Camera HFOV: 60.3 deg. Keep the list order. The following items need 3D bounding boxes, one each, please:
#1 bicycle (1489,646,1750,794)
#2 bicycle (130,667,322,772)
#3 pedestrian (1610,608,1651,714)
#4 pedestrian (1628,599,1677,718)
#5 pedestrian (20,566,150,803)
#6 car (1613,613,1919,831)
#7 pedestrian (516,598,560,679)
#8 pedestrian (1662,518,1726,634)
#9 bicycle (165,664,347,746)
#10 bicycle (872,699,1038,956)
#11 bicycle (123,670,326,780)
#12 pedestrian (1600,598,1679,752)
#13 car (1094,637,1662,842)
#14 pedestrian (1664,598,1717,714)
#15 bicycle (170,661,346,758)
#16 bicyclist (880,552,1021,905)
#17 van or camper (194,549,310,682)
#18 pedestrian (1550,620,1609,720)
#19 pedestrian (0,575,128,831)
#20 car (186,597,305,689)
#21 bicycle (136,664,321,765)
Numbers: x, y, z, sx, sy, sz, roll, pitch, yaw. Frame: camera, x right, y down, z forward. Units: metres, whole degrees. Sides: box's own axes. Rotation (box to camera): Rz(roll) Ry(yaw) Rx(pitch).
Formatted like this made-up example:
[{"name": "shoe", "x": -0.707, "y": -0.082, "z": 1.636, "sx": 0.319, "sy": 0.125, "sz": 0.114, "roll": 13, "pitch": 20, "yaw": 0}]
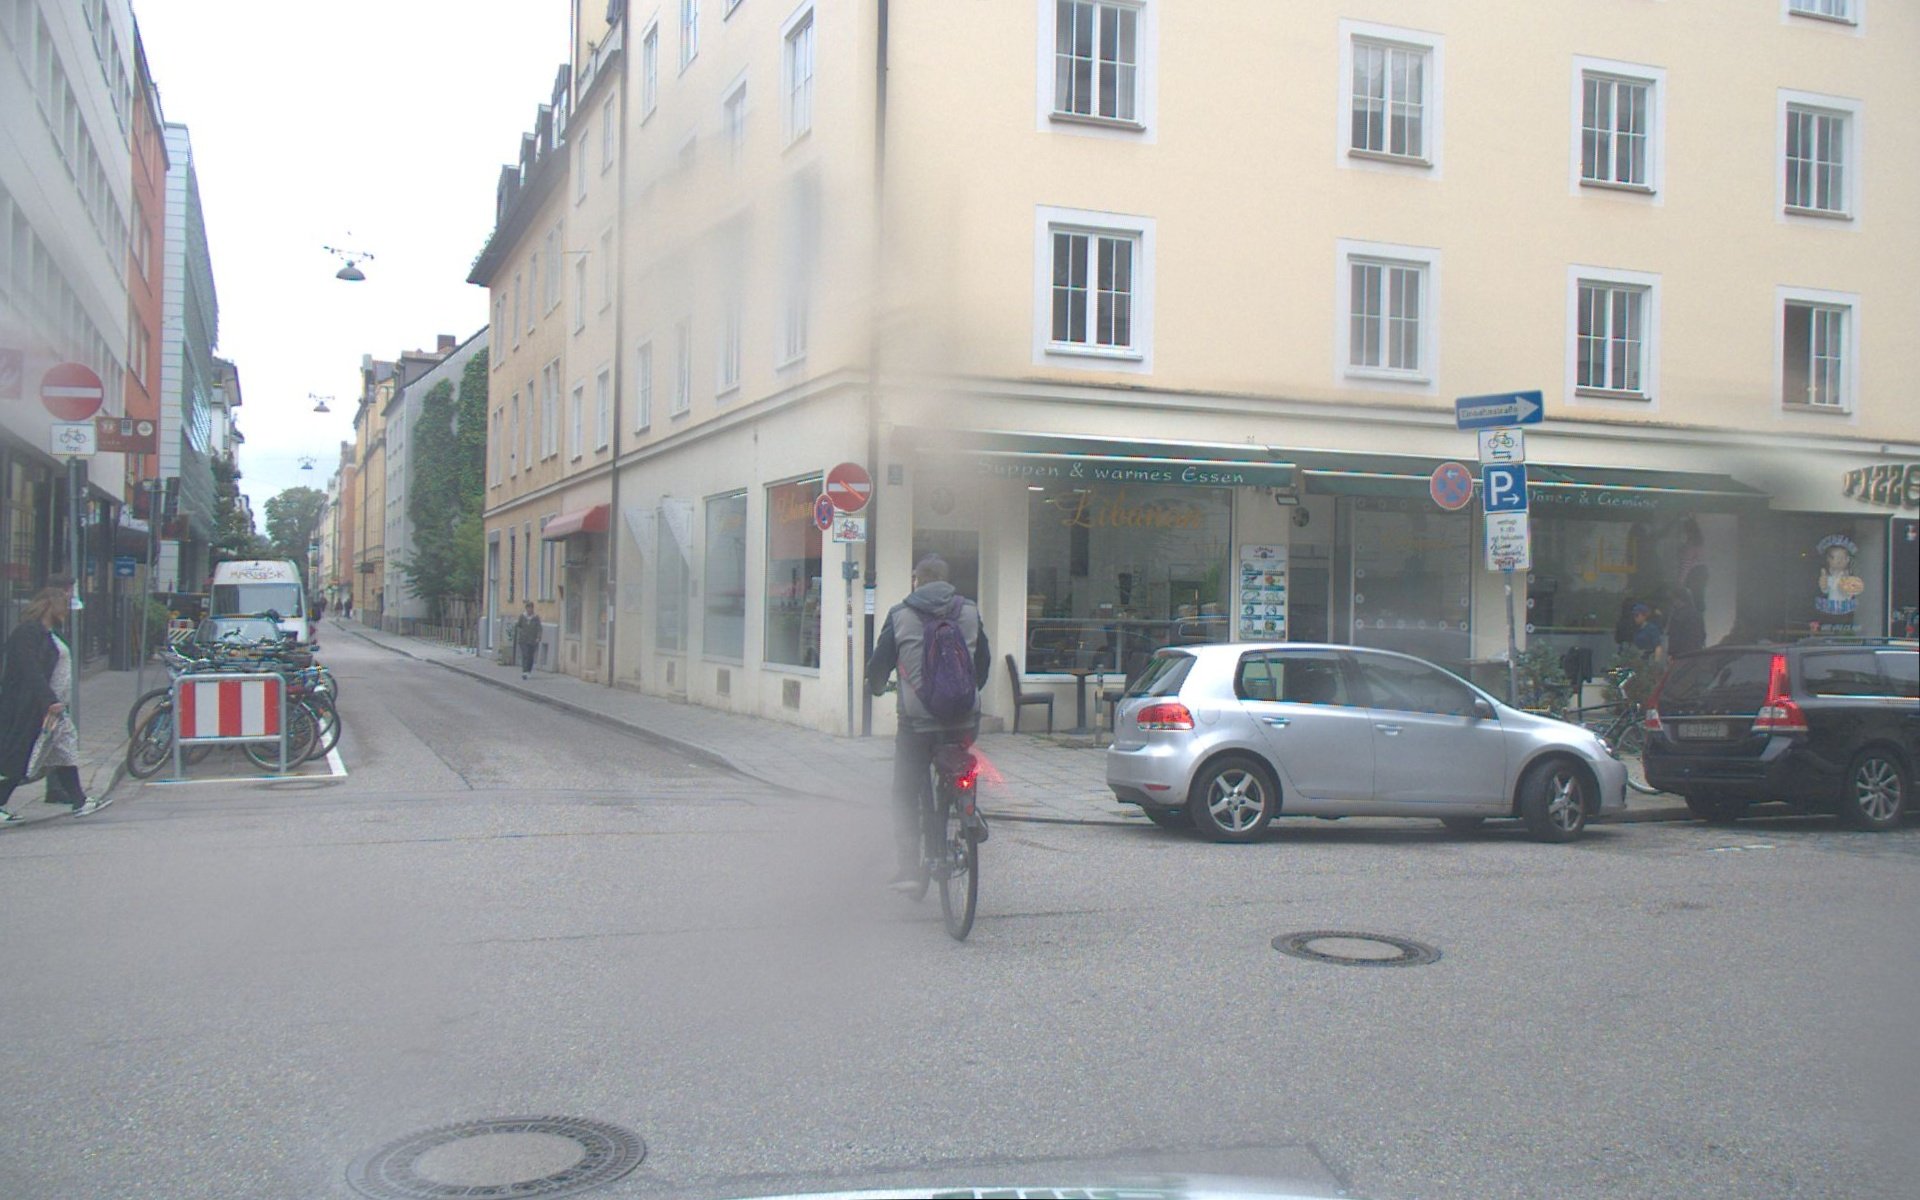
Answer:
[{"name": "bicycle", "x": 6.214, "y": 1.125, "z": 15.615, "sx": 2.050, "sy": 1.275, "sz": 1.101, "roll": 2, "pitch": 0, "yaw": -19}, {"name": "bicycle", "x": -7.318, "y": 1.173, "z": 16.528, "sx": 1.714, "sy": 0.985, "sz": 0.539, "roll": 1, "pitch": -1, "yaw": -26}, {"name": "pedestrian", "x": 9.422, "y": 0.843, "z": 23.257, "sx": 0.501, "sy": 1.458, "sz": 0.583, "roll": 1, "pitch": -1, "yaw": 21}, {"name": "pedestrian", "x": 9.309, "y": 0.776, "z": 22.220, "sx": 0.545, "sy": 1.564, "sz": 0.434, "roll": 2, "pitch": 1, "yaw": 26}, {"name": "pedestrian", "x": -6.992, "y": 0.663, "z": 13.219, "sx": 0.771, "sy": 1.814, "sz": 0.612, "roll": 3, "pitch": 1, "yaw": -35}, {"name": "car", "x": 7.943, "y": 0.992, "z": 14.154, "sx": 4.272, "sy": 1.619, "sz": 1.810, "roll": 2, "pitch": 0, "yaw": -21}, {"name": "pedestrian", "x": -9.577, "y": 0.861, "z": 37.502, "sx": 0.865, "sy": 1.809, "sz": 0.768, "roll": 1, "pitch": -1, "yaw": -21}, {"name": "pedestrian", "x": 10.448, "y": -0.337, "z": 23.555, "sx": 0.544, "sy": 1.602, "sz": 0.575, "roll": 3, "pitch": -1, "yaw": -20}, {"name": "bicycle", "x": -8.099, "y": 1.191, "z": 19.054, "sx": 1.887, "sy": 0.878, "sz": 0.613, "roll": 1, "pitch": -1, "yaw": -26}, {"name": "bicycle", "x": -0.061, "y": 1.038, "z": 7.991, "sx": 0.627, "sy": 1.022, "sz": 1.572, "roll": 1, "pitch": 0, "yaw": -6}, {"name": "bicycle", "x": -7.052, "y": 1.178, "z": 15.898, "sx": 1.733, "sy": 0.985, "sz": 0.590, "roll": 1, "pitch": -1, "yaw": -26}, {"name": "pedestrian", "x": 7.882, "y": 0.860, "z": 19.199, "sx": 0.593, "sy": 1.731, "sz": 0.541, "roll": 1, "pitch": 1, "yaw": -18}, {"name": "car", "x": 3.159, "y": 1.090, "z": 12.911, "sx": 3.913, "sy": 1.441, "sz": 1.817, "roll": 1, "pitch": -4, "yaw": -9}, {"name": "pedestrian", "x": 10.091, "y": 0.767, "z": 22.842, "sx": 0.430, "sy": 1.578, "sz": 0.528, "roll": 1, "pitch": -1, "yaw": -37}, {"name": "bicycle", "x": -7.563, "y": 1.165, "z": 17.841, "sx": 1.714, "sy": 0.985, "sz": 0.539, "roll": 1, "pitch": -1, "yaw": -26}, {"name": "bicyclist", "x": -0.060, "y": 0.597, "z": 8.081, "sx": 0.594, "sy": 1.635, "sz": 0.756, "roll": 1, "pitch": 0, "yaw": -6}, {"name": "van or camper", "x": -14.854, "y": 0.316, "z": 34.913, "sx": 1.964, "sy": 2.584, "sz": 4.732, "roll": 1, "pitch": 0, "yaw": -20}, {"name": "pedestrian", "x": 8.402, "y": 0.940, "z": 22.446, "sx": 0.509, "sy": 1.319, "sz": 0.574, "roll": 2, "pitch": -1, "yaw": -41}, {"name": "pedestrian", "x": -6.665, "y": 0.738, "z": 12.177, "sx": 0.783, "sy": 1.776, "sz": 0.762, "roll": 3, "pitch": 1, "yaw": -35}, {"name": "car", "x": -12.955, "y": 0.736, "z": 30.164, "sx": 1.806, "sy": 1.562, "sz": 3.974, "roll": 1, "pitch": 0, "yaw": -21}, {"name": "bicycle", "x": -7.566, "y": 1.170, "z": 17.145, "sx": 1.714, "sy": 0.985, "sz": 0.539, "roll": 1, "pitch": -1, "yaw": -26}]
